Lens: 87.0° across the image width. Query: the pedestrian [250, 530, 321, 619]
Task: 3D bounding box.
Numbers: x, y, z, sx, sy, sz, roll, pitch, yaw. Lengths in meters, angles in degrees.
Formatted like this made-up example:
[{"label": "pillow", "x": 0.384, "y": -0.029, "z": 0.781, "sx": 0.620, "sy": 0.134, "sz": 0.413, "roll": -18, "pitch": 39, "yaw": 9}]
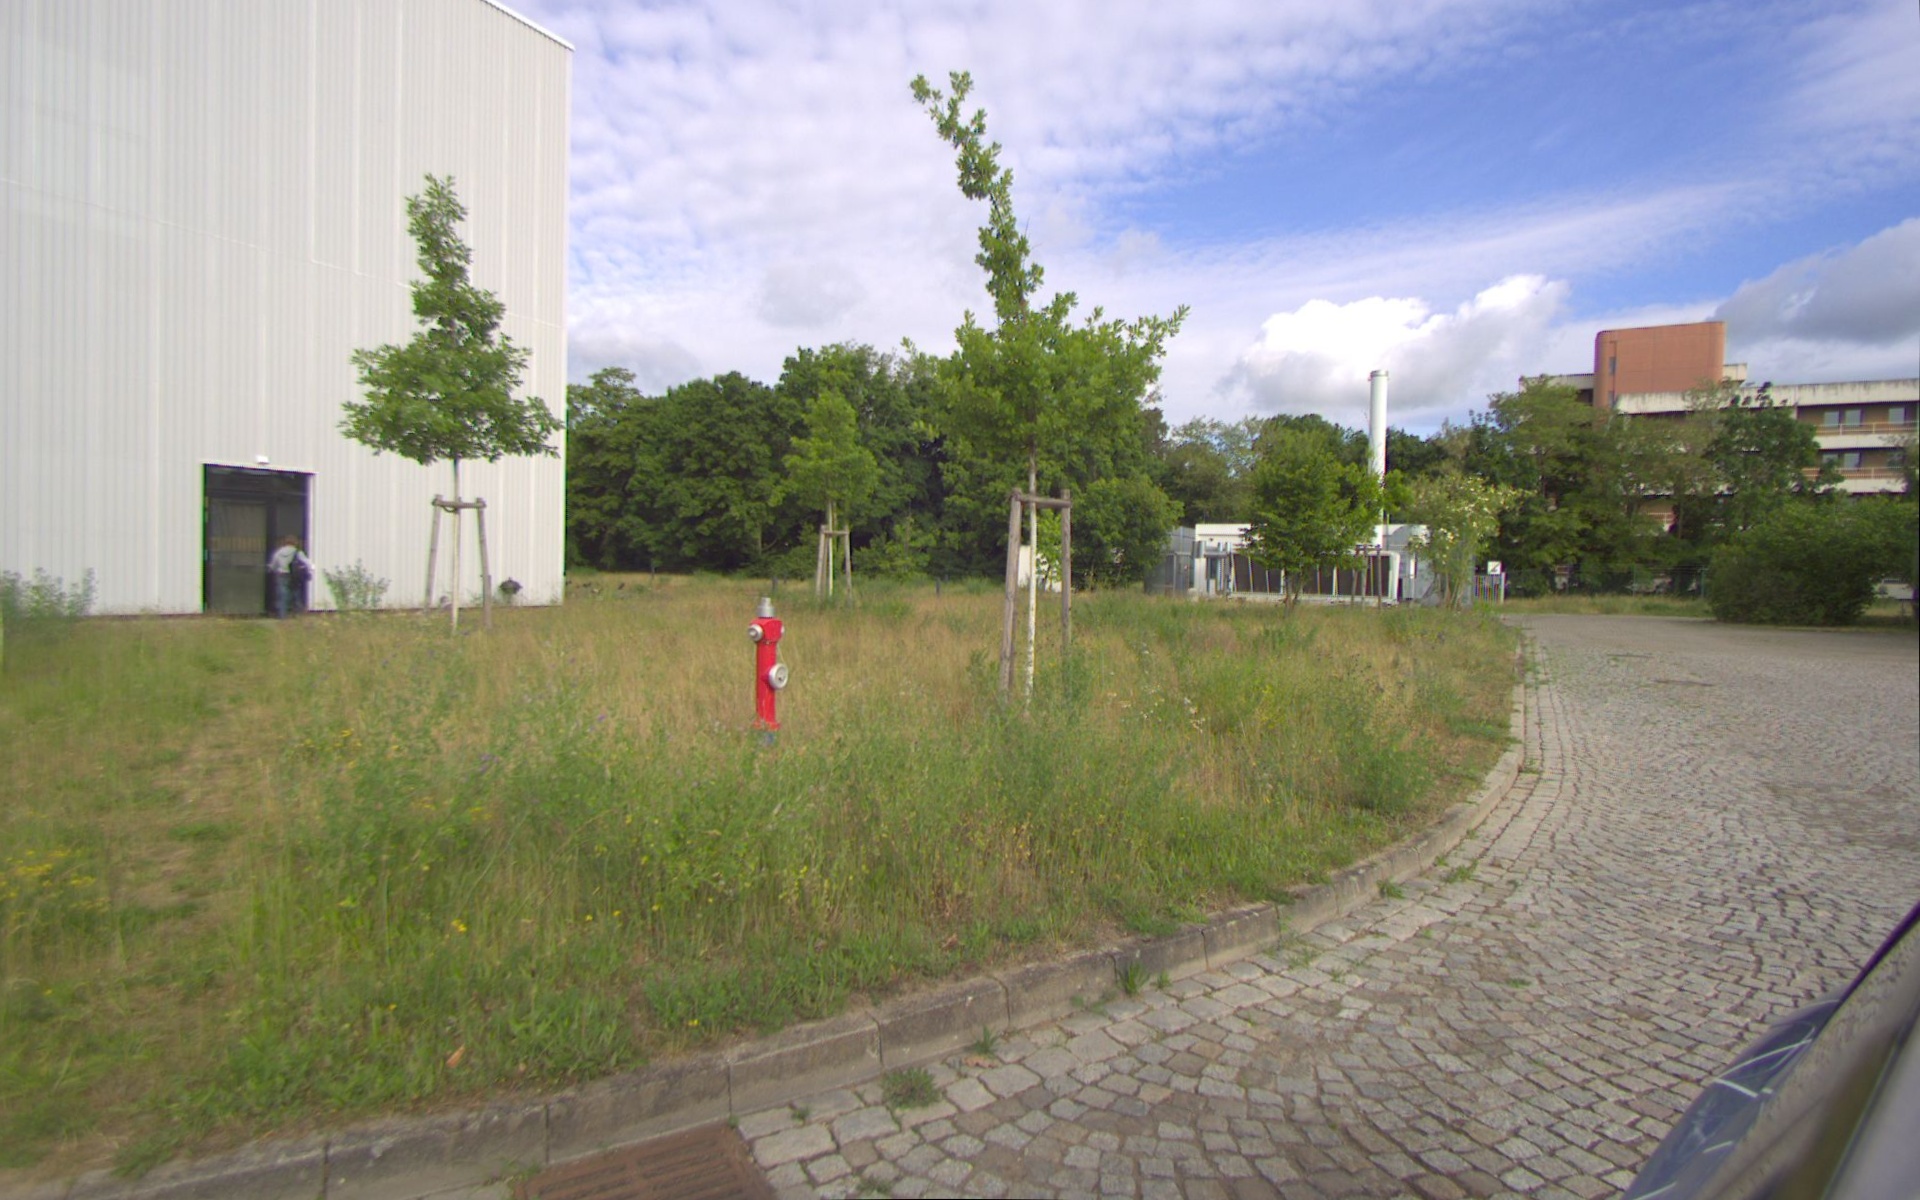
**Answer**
[{"label": "pedestrian", "x": -12.512, "y": -0.478, "z": 18.761, "sx": 1.055, "sy": 1.575, "sz": 1.079, "roll": 0, "pitch": 2, "yaw": -36}]
